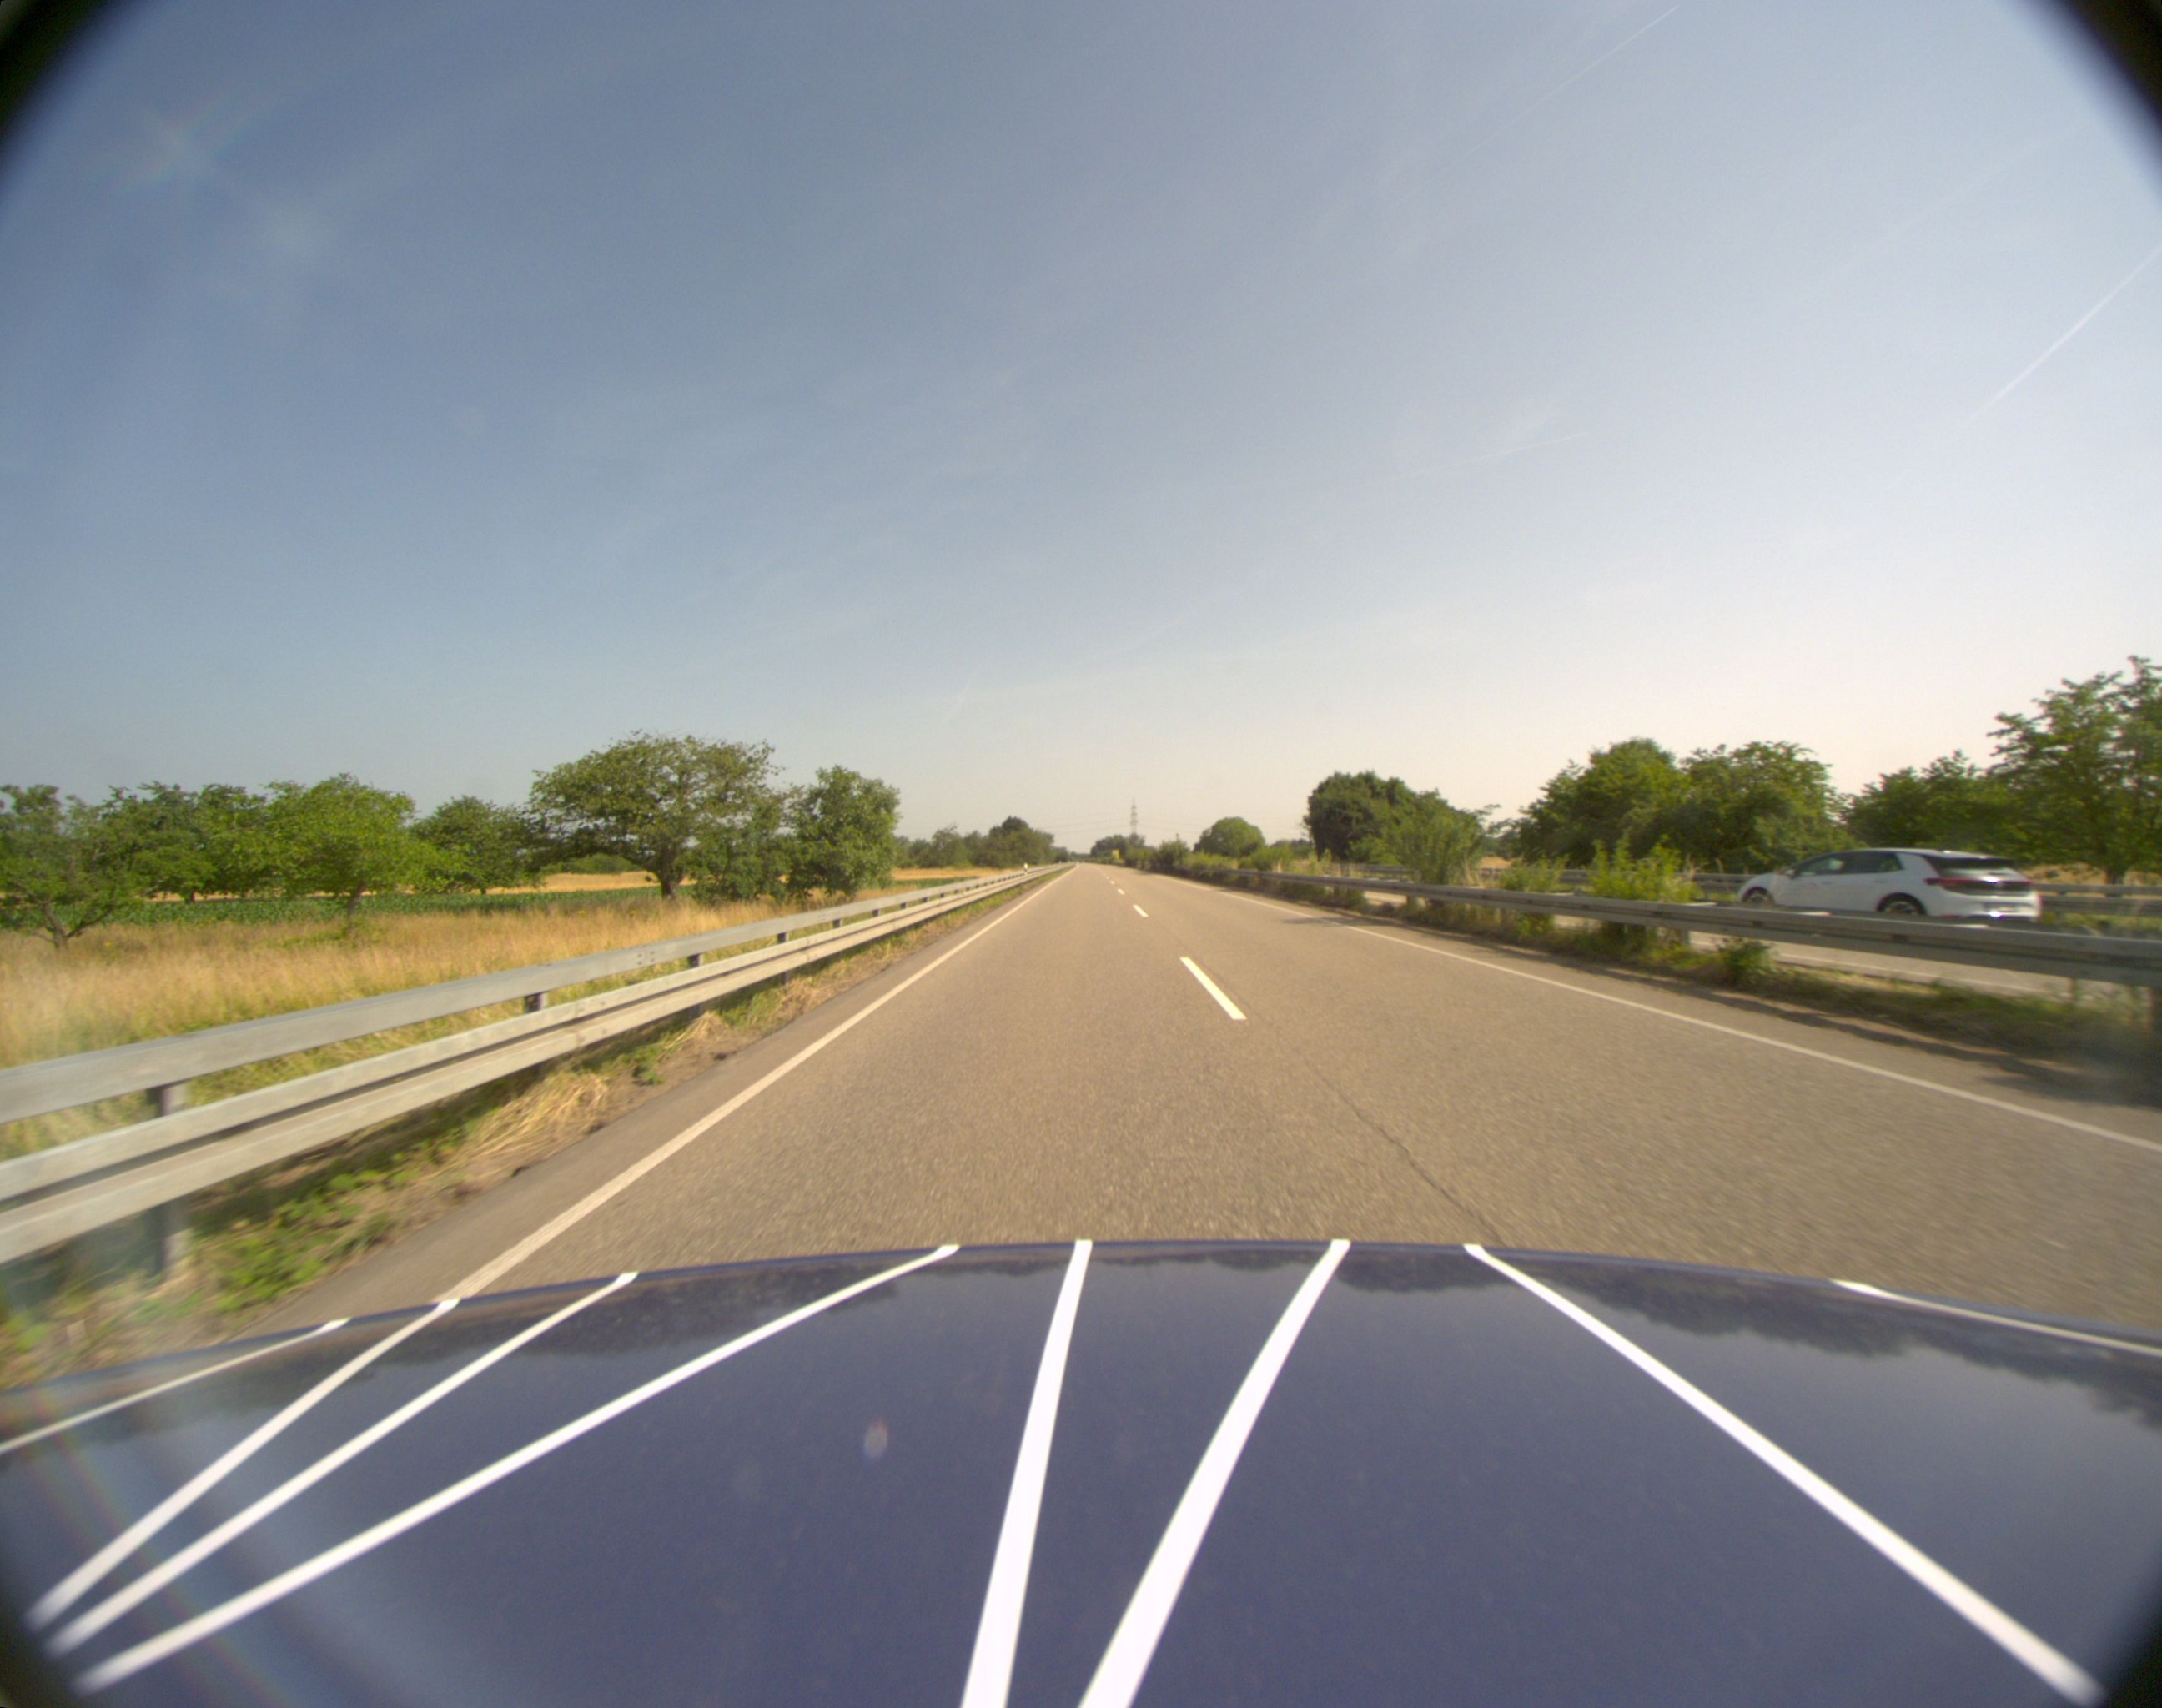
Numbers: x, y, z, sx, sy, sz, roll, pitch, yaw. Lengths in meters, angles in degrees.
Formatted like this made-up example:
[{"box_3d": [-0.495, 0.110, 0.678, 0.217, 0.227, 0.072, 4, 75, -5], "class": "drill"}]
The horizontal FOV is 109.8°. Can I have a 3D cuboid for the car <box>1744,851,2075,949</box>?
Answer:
[{"box_3d": [15.199, 0.736, 14.355, 1.697, 1.518, 4.188, -2, 0, 1], "class": "car"}]
